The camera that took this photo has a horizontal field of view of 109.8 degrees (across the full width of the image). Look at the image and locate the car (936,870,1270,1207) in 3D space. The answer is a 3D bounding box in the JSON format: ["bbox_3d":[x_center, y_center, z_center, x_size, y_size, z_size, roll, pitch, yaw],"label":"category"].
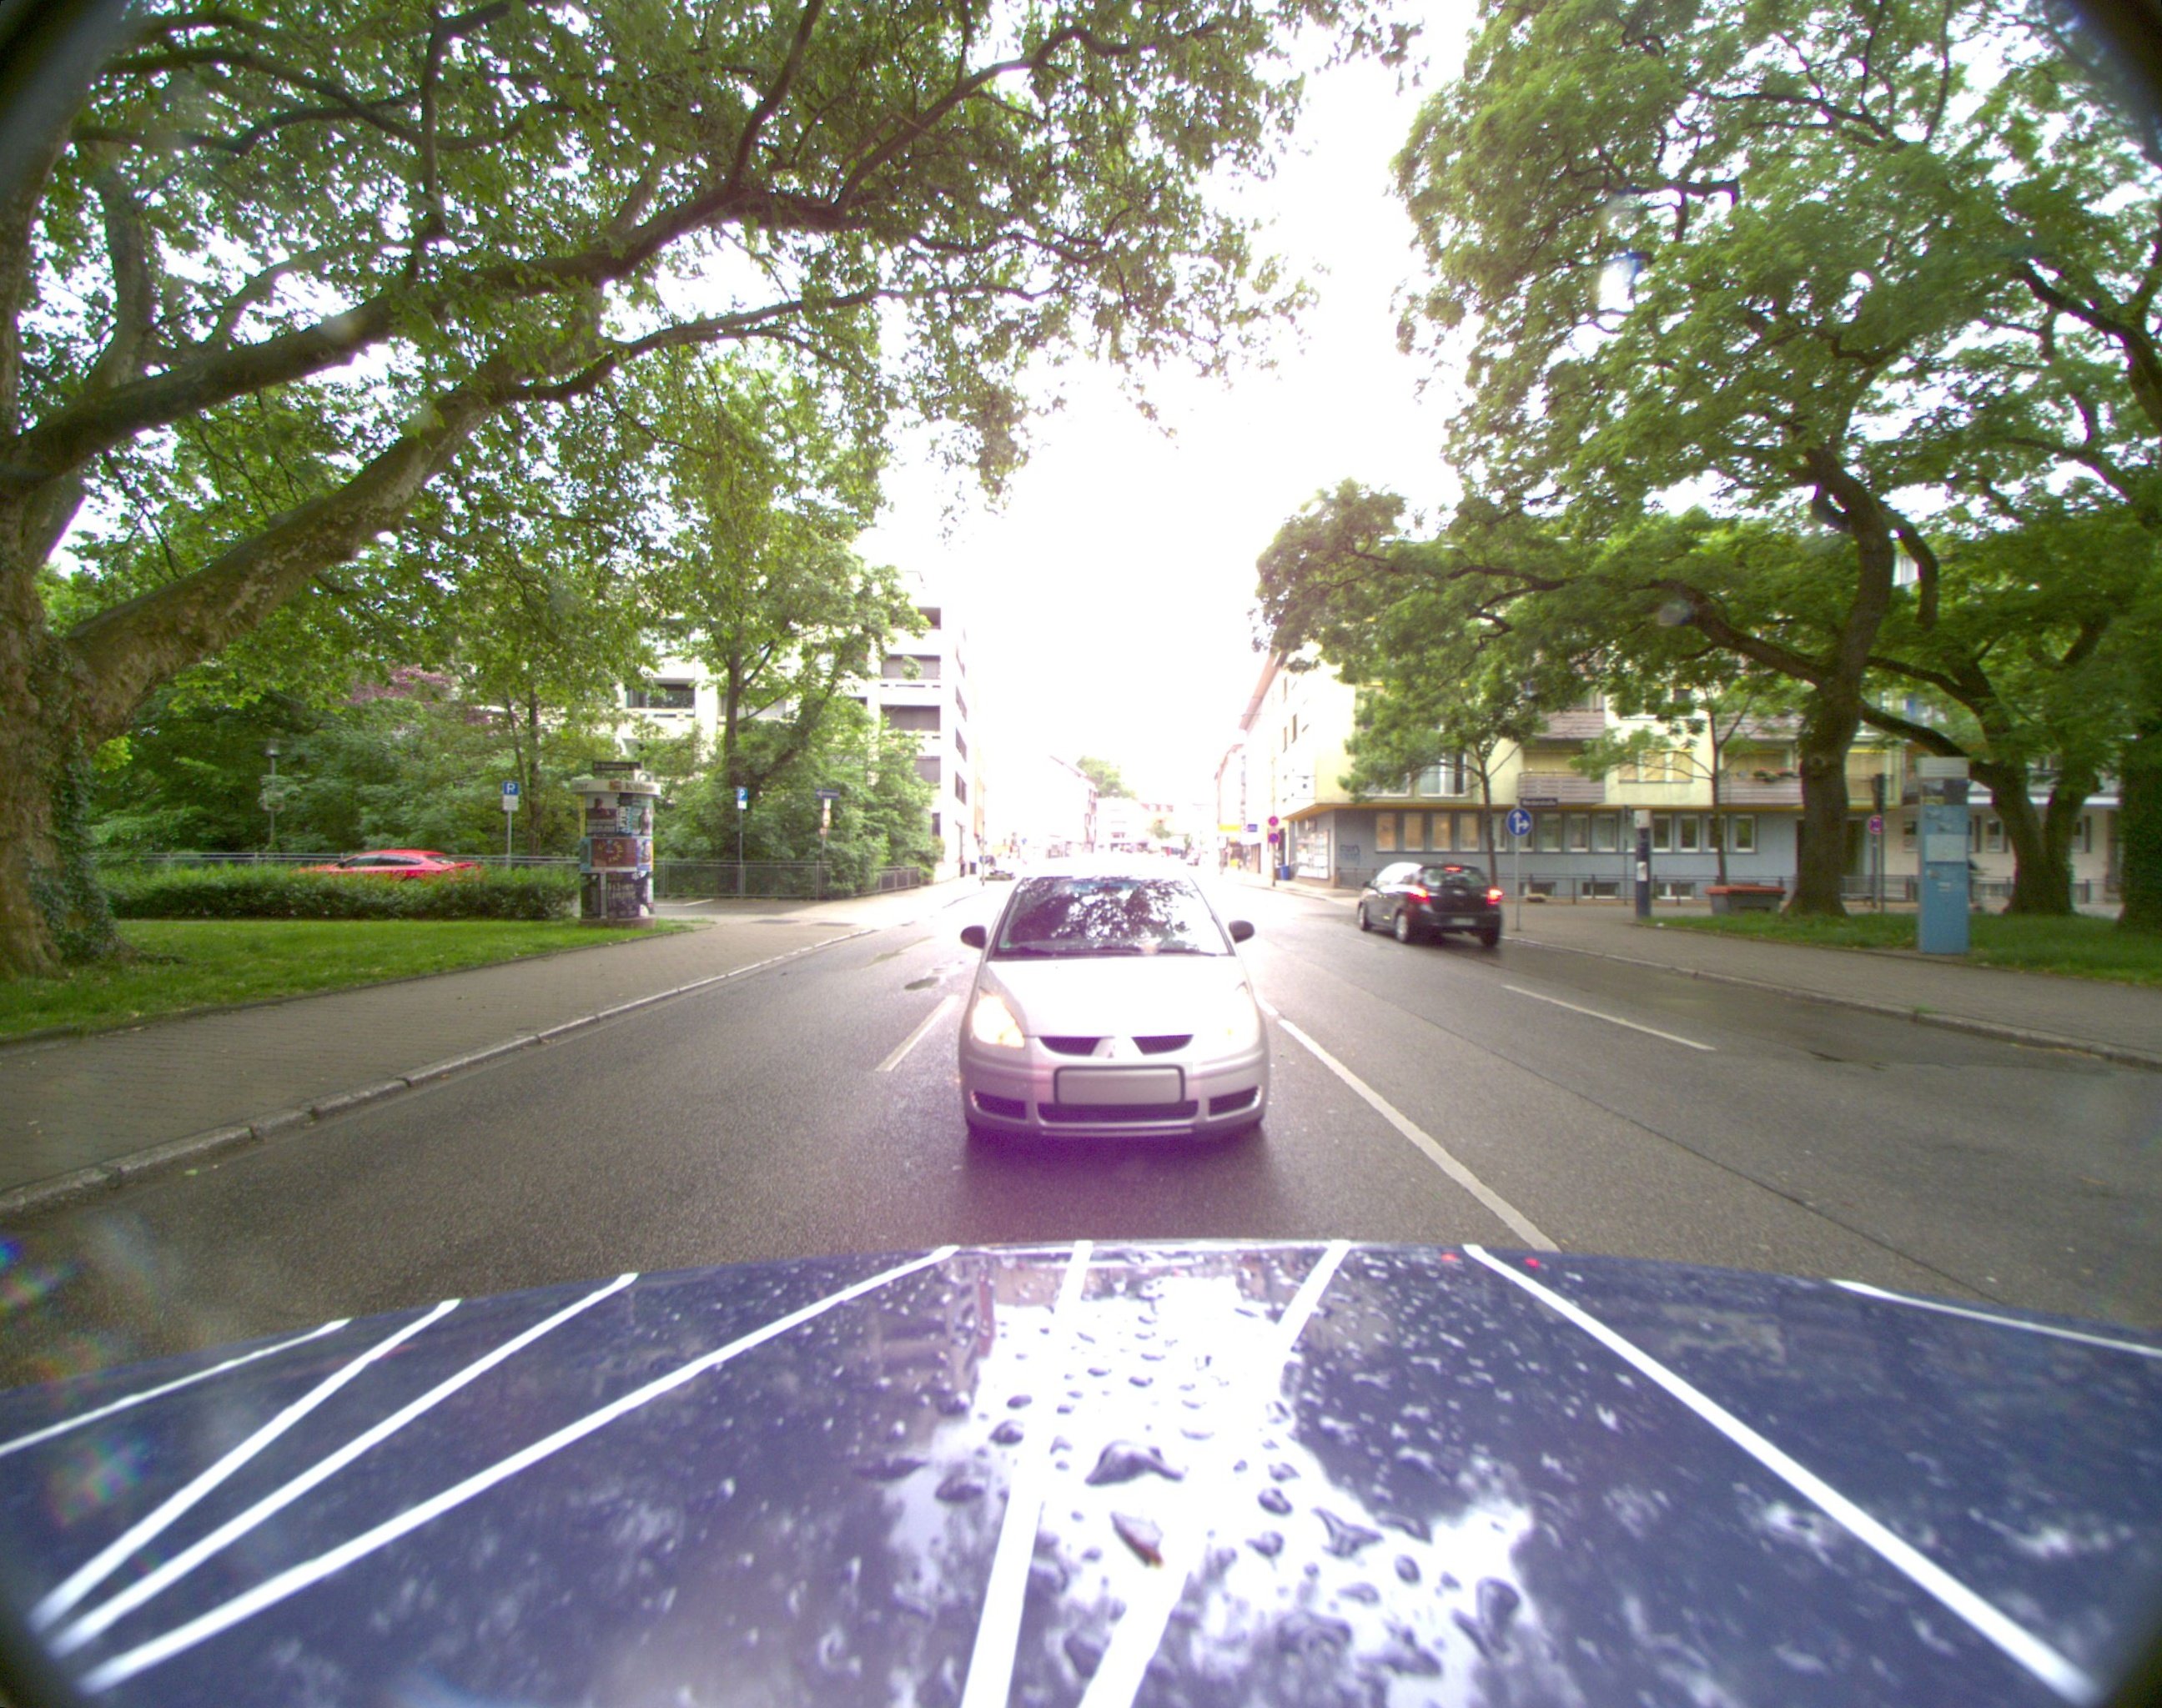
[{"bbox_3d":[0.134,0.928,5.284,1.576,1.514,3.241,-1,0,1],"label":"car"}]

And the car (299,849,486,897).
[{"bbox_3d":[-19.418,0.518,21.553,3.790,1.271,1.576,1,1,-3],"label":"car"}]

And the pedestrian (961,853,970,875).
[{"bbox_3d":[-7.985,0.705,52.571,0.480,1.521,0.481,-2,1,1],"label":"pedestrian"}]

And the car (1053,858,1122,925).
[{"bbox_3d":[0.233,0.895,19.780,1.590,1.540,3.771,1,0,2],"label":"car"}]

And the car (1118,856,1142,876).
[{"bbox_3d":[3.856,0.920,60.026,1.701,1.433,3.897,-1,0,1],"label":"car"}]

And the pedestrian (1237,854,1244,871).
[{"bbox_3d":[17.654,0.924,84.107,0.594,1.833,0.565,1,1,8],"label":"pedestrian"}]

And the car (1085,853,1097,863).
[{"bbox_3d":[1.581,0.634,120.021,1.802,1.433,3.897,1,0,1],"label":"car"}]

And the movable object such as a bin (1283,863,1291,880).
[{"bbox_3d":[13.084,1.101,48.235,0.415,1.023,0.353,1,1,8],"label":"movable object such as a bin"}]

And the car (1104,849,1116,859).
[{"bbox_3d":[4.767,0.000,126.044,1.889,1.620,4.000,-2,1,3],"label":"car"}]

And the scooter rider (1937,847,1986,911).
[{"bbox_3d":[25.335,0.726,21.876,0.711,1.806,0.699,-1,-1,33],"label":"scooter rider"}]

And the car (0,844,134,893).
[{"bbox_3d":[-29.235,0.391,21.251,3.468,1.271,1.448,1,1,-5],"label":"car"}]

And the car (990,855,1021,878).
[{"bbox_3d":[-5.307,0.862,53.511,1.681,1.424,3.681,3,0,1],"label":"car"}]

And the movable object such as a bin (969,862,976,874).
[{"bbox_3d":[-8.986,1.168,62.938,0.556,1.035,0.292,1,1,0],"label":"movable object such as a bin"}]

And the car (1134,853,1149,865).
[{"bbox_3d":[8.392,0.710,104.833,1.998,1.631,4.001,1,0,4],"label":"car"}]

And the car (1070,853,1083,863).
[{"bbox_3d":[-0.668,0.521,113.452,1.802,1.433,3.896,1,0,0],"label":"car"}]

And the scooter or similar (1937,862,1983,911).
[{"bbox_3d":[25.314,0.930,21.892,0.676,1.373,0.669,-1,-1,32],"label":"scooter or similar"}]

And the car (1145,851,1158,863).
[{"bbox_3d":[11.084,0.454,119.940,1.998,1.841,4.001,1,0,4],"label":"car"}]

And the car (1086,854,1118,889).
[{"bbox_3d":[1.062,0.892,40.432,1.584,1.705,3.649,1,0,0],"label":"car"}]

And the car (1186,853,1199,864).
[{"bbox_3d":[17.785,0.758,121.272,1.889,1.707,4.001,1,0,4],"label":"car"}]

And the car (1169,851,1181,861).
[{"bbox_3d":[16.231,0.402,131.075,1.867,1.648,4.001,1,0,4],"label":"car"}]

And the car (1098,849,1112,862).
[{"bbox_3d":[3.543,0.195,112.618,1.935,1.817,3.999,-2,1,0],"label":"car"}]

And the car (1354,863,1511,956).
[{"bbox_3d":[6.597,0.953,14.678,1.571,1.479,3.568,2,0,4],"label":"car"}]

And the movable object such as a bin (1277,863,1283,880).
[{"bbox_3d":[12.701,1.113,48.535,0.338,1.023,0.353,1,1,8],"label":"movable object such as a bin"}]
